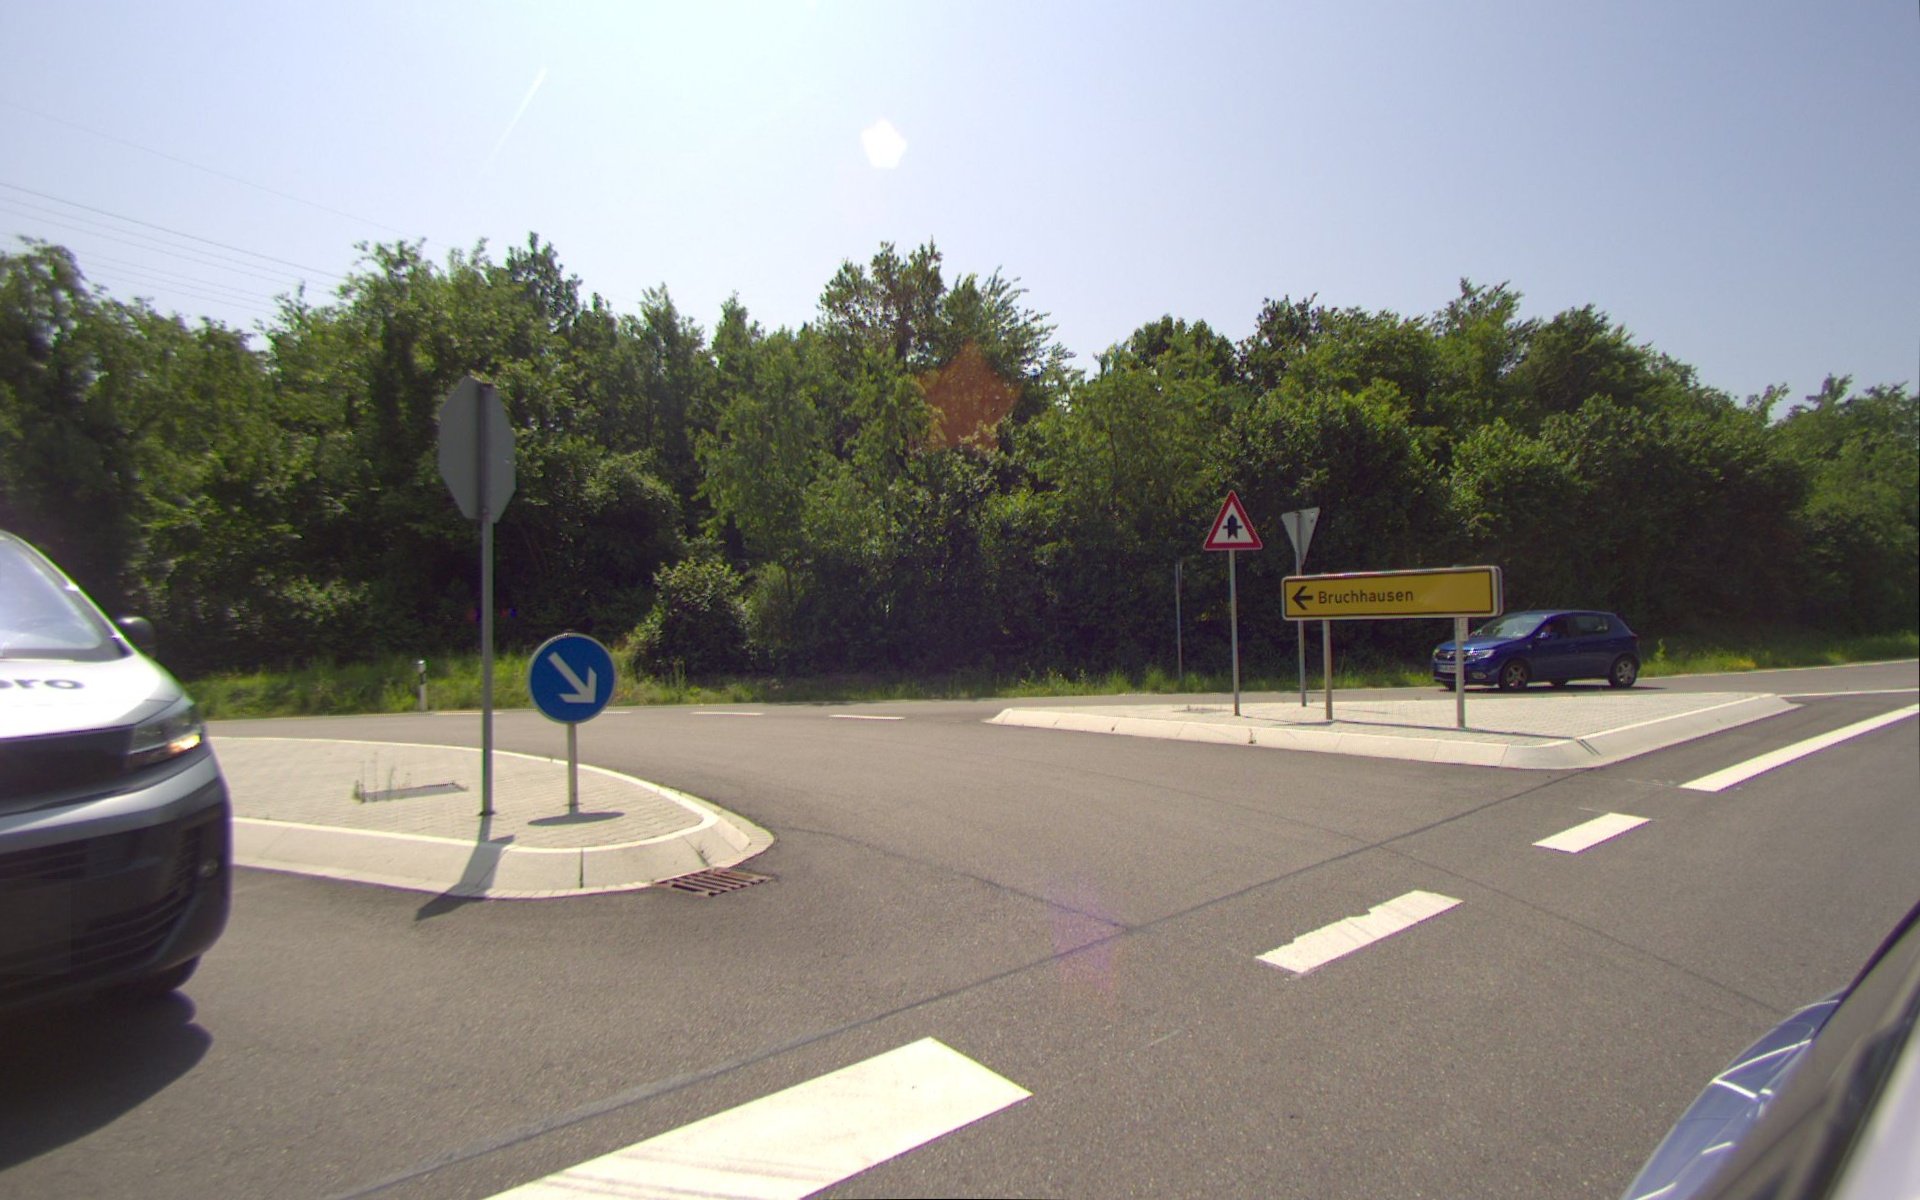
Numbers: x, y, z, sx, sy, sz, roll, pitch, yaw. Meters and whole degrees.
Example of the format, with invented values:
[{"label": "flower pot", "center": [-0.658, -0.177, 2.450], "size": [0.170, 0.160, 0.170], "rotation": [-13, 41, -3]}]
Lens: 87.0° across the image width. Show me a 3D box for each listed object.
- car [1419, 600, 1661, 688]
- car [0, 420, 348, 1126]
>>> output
[{"label": "car", "center": [11.200, 0.818, 19.624], "size": [3.862, 1.561, 1.812], "rotation": [0, -2, -15]}, {"label": "car", "center": [-4.901, 0.559, 4.047], "size": [5.186, 1.931, 1.992], "rotation": [-2, -1, 31]}]
